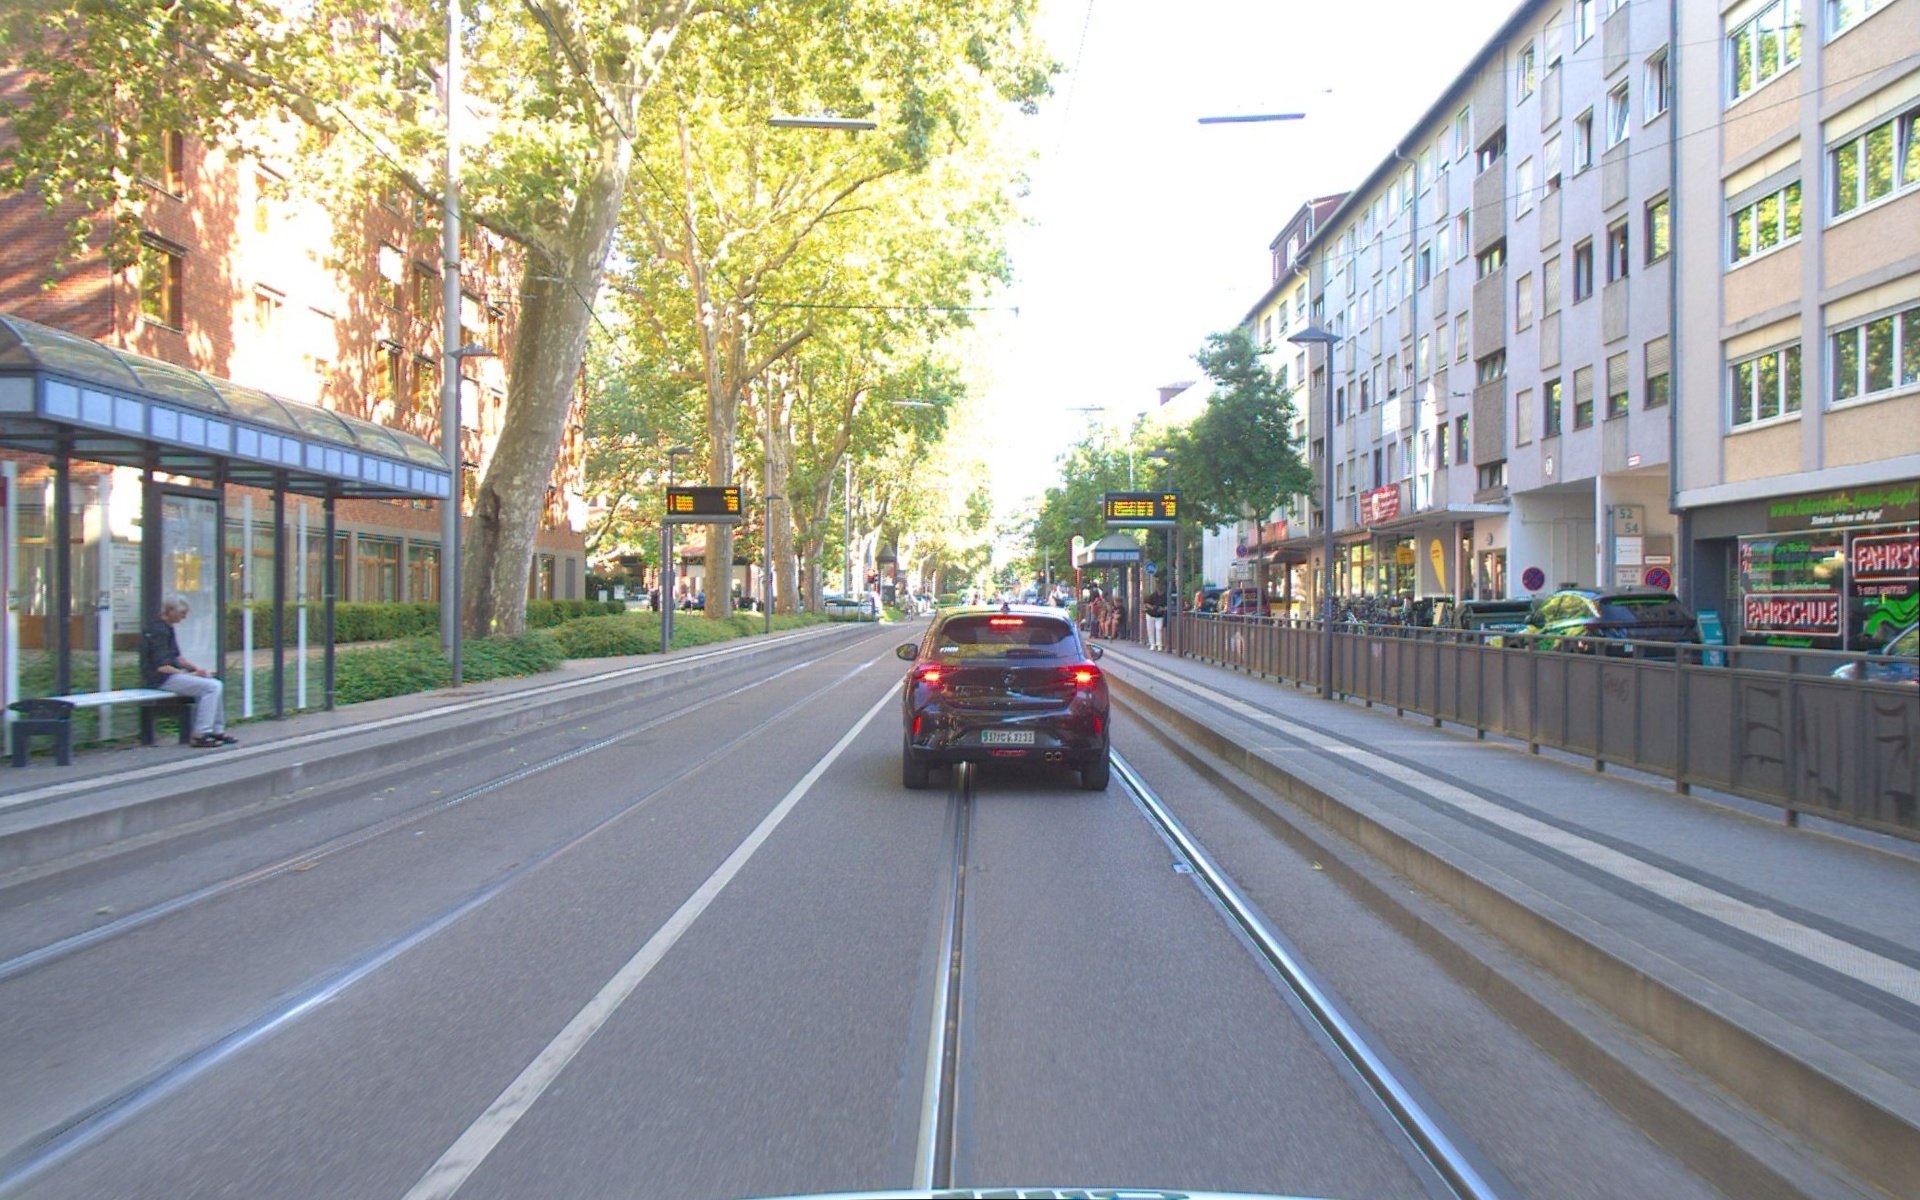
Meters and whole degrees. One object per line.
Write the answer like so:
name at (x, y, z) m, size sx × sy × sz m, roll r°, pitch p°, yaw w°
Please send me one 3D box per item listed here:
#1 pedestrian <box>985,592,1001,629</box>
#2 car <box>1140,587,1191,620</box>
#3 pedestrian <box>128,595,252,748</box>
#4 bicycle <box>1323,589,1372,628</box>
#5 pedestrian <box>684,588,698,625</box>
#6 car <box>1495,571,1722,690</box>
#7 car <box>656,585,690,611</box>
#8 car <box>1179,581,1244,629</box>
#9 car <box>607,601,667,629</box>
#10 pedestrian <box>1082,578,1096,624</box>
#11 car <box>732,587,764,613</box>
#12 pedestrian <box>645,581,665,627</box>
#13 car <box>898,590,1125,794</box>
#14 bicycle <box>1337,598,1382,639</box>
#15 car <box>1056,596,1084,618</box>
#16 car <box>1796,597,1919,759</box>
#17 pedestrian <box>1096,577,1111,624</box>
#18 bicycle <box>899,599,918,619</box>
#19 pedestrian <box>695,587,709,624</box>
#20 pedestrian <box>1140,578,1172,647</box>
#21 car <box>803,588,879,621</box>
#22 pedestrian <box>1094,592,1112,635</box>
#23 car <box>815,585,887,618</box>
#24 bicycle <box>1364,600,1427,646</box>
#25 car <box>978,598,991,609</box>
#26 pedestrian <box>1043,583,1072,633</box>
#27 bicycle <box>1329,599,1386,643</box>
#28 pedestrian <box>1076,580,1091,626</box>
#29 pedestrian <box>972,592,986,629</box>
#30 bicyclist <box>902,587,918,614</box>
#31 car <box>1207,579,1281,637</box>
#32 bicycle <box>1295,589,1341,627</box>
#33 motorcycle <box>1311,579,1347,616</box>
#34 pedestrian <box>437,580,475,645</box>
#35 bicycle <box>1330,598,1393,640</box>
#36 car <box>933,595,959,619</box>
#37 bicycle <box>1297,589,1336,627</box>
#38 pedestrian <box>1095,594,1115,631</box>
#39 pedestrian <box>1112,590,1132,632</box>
pedestrian at (1.858, 0.591, 93.071) m, size 0.661 × 2.049 × 0.702 m, roll 2°, pitch 0°, yaw 12°
car at (9.757, 0.169, 78.760) m, size 1.952 × 1.512 × 4.000 m, roll 1°, pitch 0°, yaw 1°
pedestrian at (-6.206, 0.567, 13.358) m, size 0.691 × 1.189 × 0.659 m, roll -1°, pitch 0°, yaw -3°
bicycle at (11.695, 0.251, 49.969) m, size 0.586 × 1.156 × 2.198 m, roll 1°, pitch 0°, yaw -10°
pedestrian at (-14.880, 0.356, 91.554) m, size 0.658 × 1.984 × 0.498 m, roll 2°, pitch 0°, yaw -3°
car at (9.878, 0.443, 25.578) m, size 1.819 × 1.644 × 4.398 m, roll 1°, pitch 0°, yaw 1°
car at (-23.195, -0.152, 133.652) m, size 1.952 × 2.049 × 4.000 m, roll 1°, pitch 0°, yaw 1°
car at (10.066, 0.214, 66.481) m, size 1.953 × 1.829 × 4.000 m, roll 1°, pitch 0°, yaw 0°
car at (-24.547, 1.110, 125.829) m, size 4.162 × 2.049 × 2.000 m, roll 1°, pitch 0°, yaw 0°
pedestrian at (5.002, 0.043, 64.189) m, size 0.520 × 1.739 × 0.596 m, roll 1°, pitch -1°, yaw 3°
car at (-17.150, -0.018, 134.006) m, size 1.952 × 2.049 × 4.000 m, roll 1°, pitch 0°, yaw 1°
pedestrian at (-13.512, 0.171, 73.352) m, size 0.661 × 1.984 × 0.496 m, roll 2°, pitch 0°, yaw 38°
car at (0.344, 0.704, 14.421) m, size 1.724 × 1.534 × 3.682 m, roll 0°, pitch 0°, yaw -2°
bicycle at (11.627, 0.530, 48.151) m, size 0.403 × 1.156 × 2.198 m, roll 1°, pitch 0°, yaw -10°
car at (8.671, 0.539, 130.477) m, size 1.952 × 1.661 × 4.000 m, roll 1°, pitch 0°, yaw 1°
car at (9.550, 0.723, 15.126) m, size 1.708 × 1.465 × 4.247 m, roll 1°, pitch 0°, yaw 1°
pedestrian at (5.486, 0.014, 63.271) m, size 0.520 × 1.793 × 0.661 m, roll 1°, pitch -1°, yaw 3°
bicycle at (-3.283, 0.559, 105.544) m, size 0.935 × 1.262 × 2.979 m, roll 1°, pitch 0°, yaw 4°
pedestrian at (-14.164, 0.285, 90.736) m, size 0.658 × 1.984 × 0.498 m, roll 2°, pitch 0°, yaw -3°
pedestrian at (4.665, 0.294, 39.440) m, size 0.618 × 1.603 × 0.871 m, roll 2°, pitch 0°, yaw 1°
car at (-6.462, 0.236, 89.844) m, size 4.035 × 1.731 × 1.881 m, roll 1°, pitch 0°, yaw -7°
pedestrian at (4.432, 0.414, 51.214) m, size 0.492 × 1.327 × 0.428 m, roll 1°, pitch -1°, yaw -4°
car at (-6.674, 0.101, 101.211) m, size 4.301 × 1.884 × 1.997 m, roll 1°, pitch 0°, yaw -7°
bicycle at (11.323, 0.577, 43.083) m, size 0.610 × 1.156 × 2.433 m, roll 1°, pitch 0°, yaw -10°
car at (3.726, 0.515, 252.612) m, size 1.710 × 1.571 × 3.999 m, roll 1°, pitch 0°, yaw -1°
pedestrian at (3.449, 0.280, 58.493) m, size 0.736 × 1.739 × 0.760 m, roll 0°, pitch -1°, yaw 35°
bicycle at (10.913, 0.566, 45.536) m, size 0.591 × 1.156 × 2.428 m, roll 1°, pitch 0°, yaw -10°
pedestrian at (4.657, 0.118, 62.516) m, size 0.520 × 1.739 × 0.752 m, roll 1°, pitch -1°, yaw 3°
pedestrian at (1.051, 0.572, 93.206) m, size 0.661 × 2.049 × 0.702 m, roll 2°, pitch 0°, yaw 7°
bicyclist at (-3.216, 0.024, 106.450) m, size 0.921 × 1.733 × 1.153 m, roll 1°, pitch -1°, yaw 4°
car at (10.230, 0.282, 59.847) m, size 1.953 × 1.986 × 4.000 m, roll 1°, pitch 0°, yaw 0°
bicycle at (11.010, 0.245, 50.984) m, size 0.586 × 1.156 × 2.198 m, roll 1°, pitch 0°, yaw -10°
motorcycle at (13.462, -0.086, 60.455) m, size 0.873 × 1.302 × 2.043 m, roll 1°, pitch 0°, yaw 1°
pedestrian at (-13.327, 0.329, 43.738) m, size 0.720 × 1.701 × 0.861 m, roll 1°, pitch -1°, yaw 1°
bicycle at (11.334, 0.522, 46.772) m, size 0.600 × 1.156 × 2.914 m, roll 1°, pitch 0°, yaw -10°
car at (-0.964, 0.471, 113.892) m, size 1.710 × 1.571 × 3.999 m, roll 1°, pitch 0°, yaw -1°
bicycle at (11.262, 0.257, 52.340) m, size 0.585 × 1.156 × 2.201 m, roll 1°, pitch 0°, yaw -5°
pedestrian at (4.434, 0.380, 50.609) m, size 0.523 × 1.119 × 0.550 m, roll 1°, pitch -1°, yaw -4°
pedestrian at (4.891, 0.333, 50.029) m, size 0.523 × 1.252 × 0.510 m, roll 1°, pitch -1°, yaw -4°
